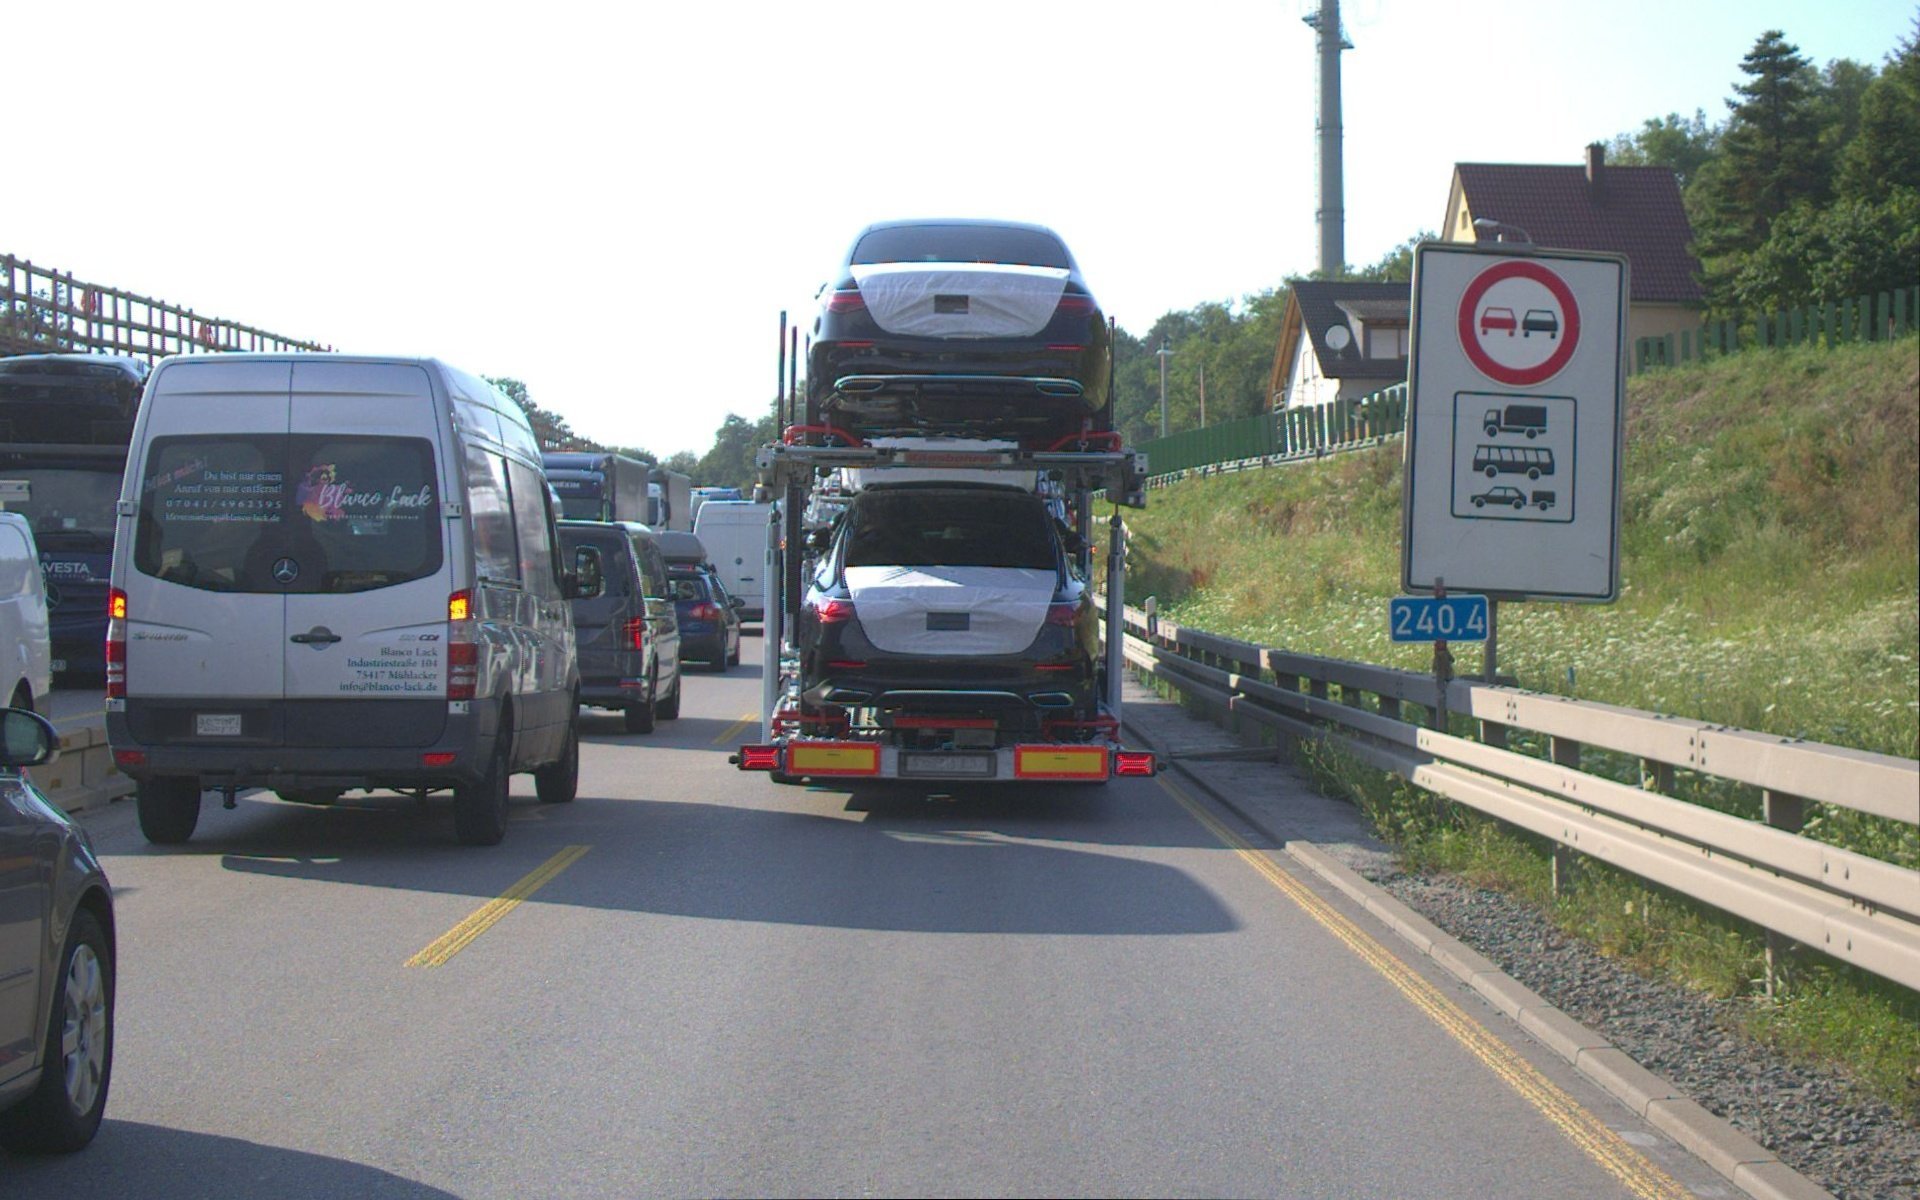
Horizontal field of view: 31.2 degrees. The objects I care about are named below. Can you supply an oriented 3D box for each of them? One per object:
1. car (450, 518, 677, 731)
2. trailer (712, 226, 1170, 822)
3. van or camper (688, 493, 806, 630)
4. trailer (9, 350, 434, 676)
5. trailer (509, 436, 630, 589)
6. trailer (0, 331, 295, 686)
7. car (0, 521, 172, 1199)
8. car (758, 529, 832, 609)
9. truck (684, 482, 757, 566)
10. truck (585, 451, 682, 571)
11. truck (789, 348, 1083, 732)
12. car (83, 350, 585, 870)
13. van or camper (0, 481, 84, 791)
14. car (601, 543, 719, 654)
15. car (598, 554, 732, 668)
[{"bbox_3d":[-3.761,0.220,33.196,1.808,1.897,4.000,1,0,-2],"label":"car"},{"bbox_3d":[-0.177,-0.535,28.217,2.682,3.522,15.289,1,1,0],"label":"trailer"},{"bbox_3d":[-4.207,-0.756,68.477,1.968,2.583,5.042,1,0,0],"label":"van or camper"},{"bbox_3d":[-10.441,-1.146,50.840,2.771,4.017,15.764,1,0,0],"label":"trailer"},{"bbox_3d":[-10.936,-2.466,96.746,2.764,4.127,5.977,1,2,-1],"label":"trailer"},{"bbox_3d":[-10.432,-1.083,42.892,2.771,4.017,7.208,1,0,0],"label":"trailer"},{"bbox_3d":[-3.001,0.612,7.408,1.680,1.583,4.272,0,0,-1],"label":"car"},{"bbox_3d":[-4.433,-0.860,92.840,1.885,2.092,3.766,1,1,-1],"label":"car"},{"bbox_3d":[-10.293,-3.227,148.510,2.714,3.413,8.142,-2,1,-2],"label":"truck"},{"bbox_3d":[-11.270,-3.038,119.148,2.860,3.994,5.658,1,0,-1],"label":"truck"},{"bbox_3d":[-0.255,-0.594,35.579,2.682,3.522,7.194,1,1,0],"label":"truck"},{"bbox_3d":[-3.484,-0.017,20.256,1.993,2.639,5.531,0,1,-1],"label":"car"},{"bbox_3d":[-7.113,0.220,21.852,1.858,2.007,5.296,1,0,-2],"label":"van or camper"},{"bbox_3d":[-6.957,-0.068,80.151,2.471,2.525,4.000,0,1,-1],"label":"car"},{"bbox_3d":[-4.244,0.127,49.952,1.725,1.517,3.974,1,1,-2],"label":"car"}]
